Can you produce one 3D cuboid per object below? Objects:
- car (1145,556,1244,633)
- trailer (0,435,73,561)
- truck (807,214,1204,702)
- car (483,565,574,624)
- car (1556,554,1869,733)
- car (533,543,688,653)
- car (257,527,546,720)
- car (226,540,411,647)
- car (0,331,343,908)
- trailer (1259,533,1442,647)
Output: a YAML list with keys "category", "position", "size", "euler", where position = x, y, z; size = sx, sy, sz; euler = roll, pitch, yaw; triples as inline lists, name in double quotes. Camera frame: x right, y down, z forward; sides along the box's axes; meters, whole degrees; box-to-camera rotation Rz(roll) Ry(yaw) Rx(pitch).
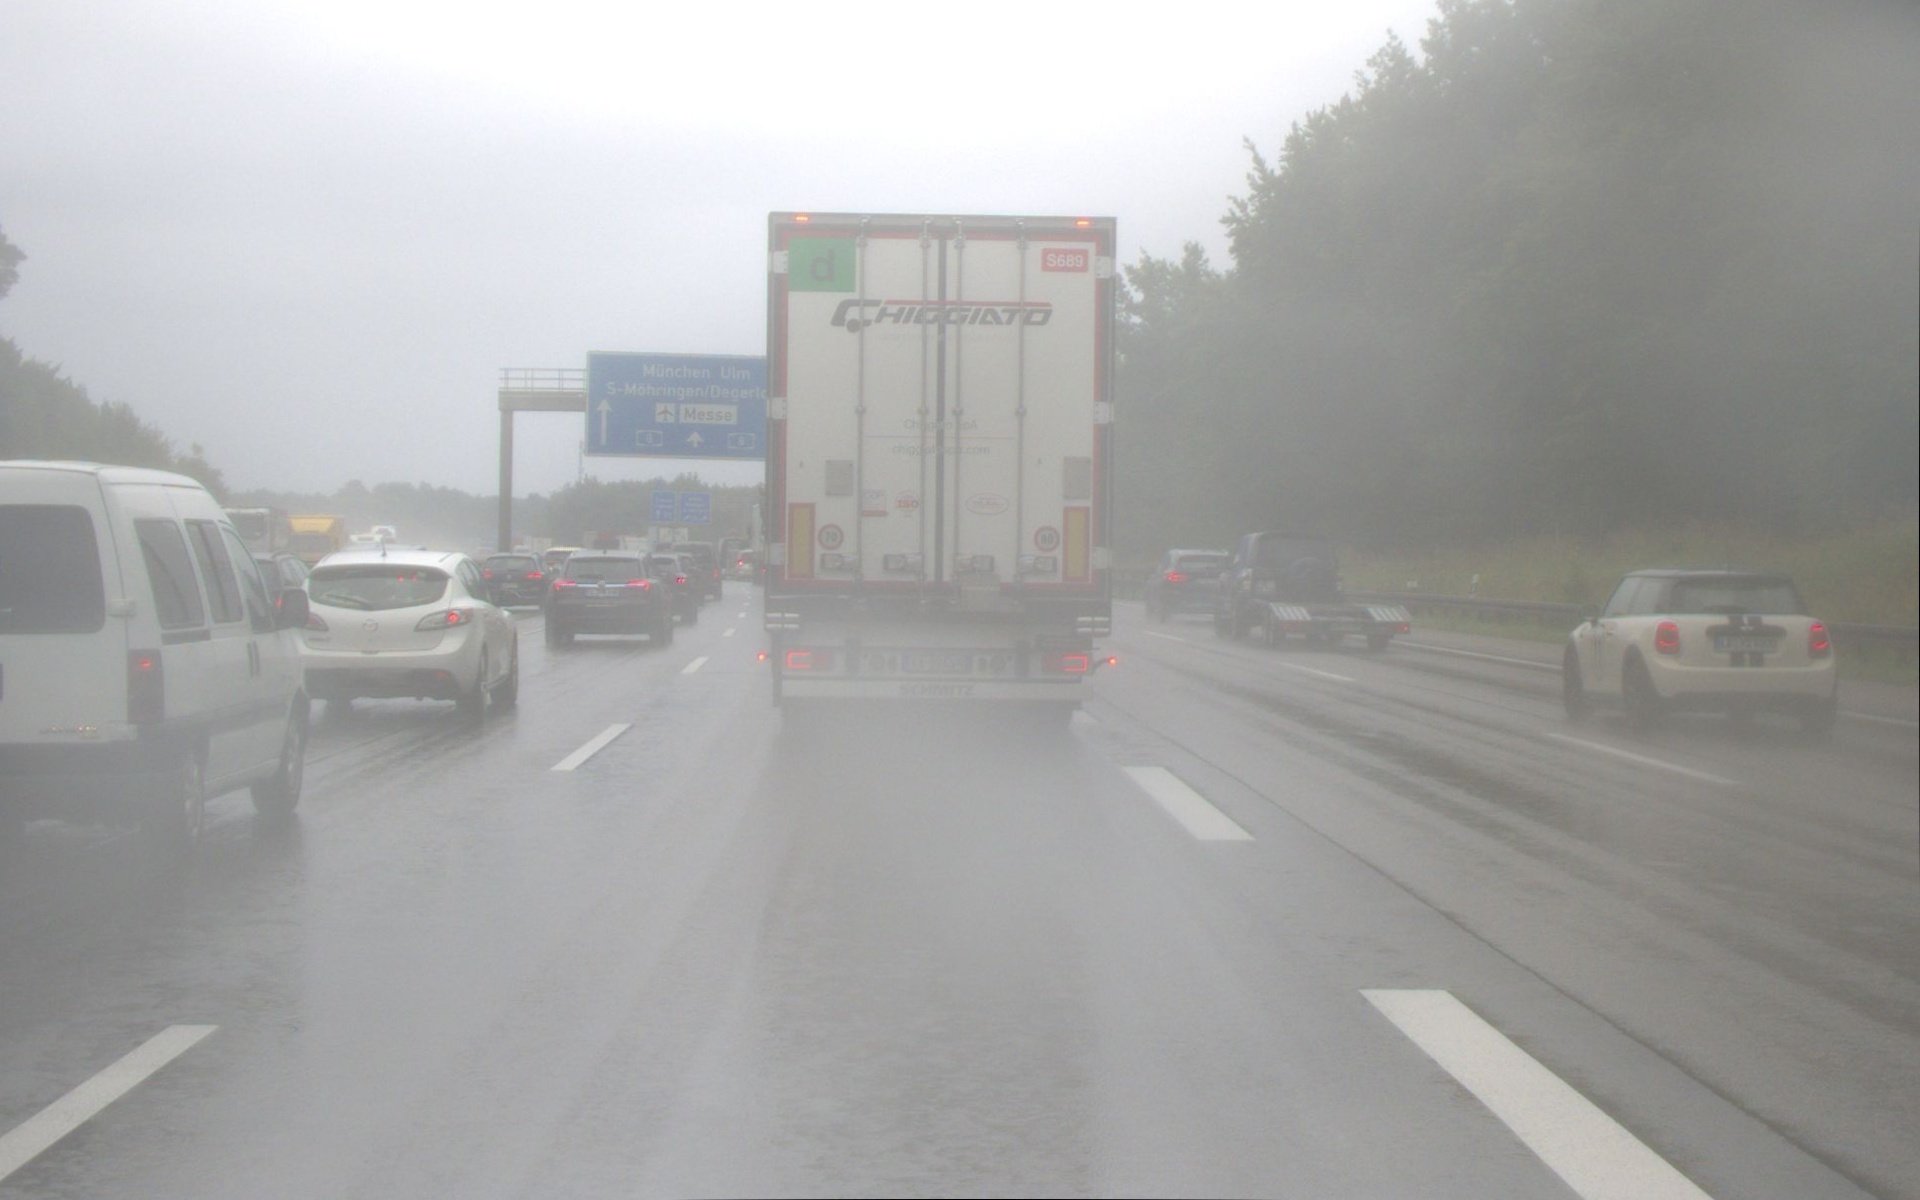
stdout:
- category: "car"
  position: [5.138, -0.147, 75.838]
  size: [1.990, 1.578, 4.767]
  euler: [1, 1, 2]
- category: "trailer"
  position: [-31.397, -3.203, 110.115]
  size: [2.719, 3.940, 13.962]
  euler: [-1, 1, -2]
- category: "truck"
  position: [0.335, -1.102, 30.905]
  size: [2.872, 3.550, 11.302]
  euler: [1, 1, 0]
- category: "car"
  position: [-10.594, -0.152, 84.575]
  size: [1.845, 1.326, 4.467]
  euler: [1, 1, -3]
- category: "car"
  position: [6.521, 0.329, 30.248]
  size: [1.790, 1.402, 4.228]
  euler: [1, 1, 0]
- category: "car"
  position: [-5.391, -0.070, 53.517]
  size: [1.845, 1.586, 4.466]
  euler: [1, 1, 1]
- category: "car"
  position: [-4.911, 0.154, 30.737]
  size: [1.845, 1.586, 4.072]
  euler: [1, 1, 1]
- category: "car"
  position: [-8.608, -0.124, 46.453]
  size: [1.845, 1.326, 4.467]
  euler: [1, 1, -3]
- category: "car"
  position: [-4.614, 0.025, 17.793]
  size: [2.212, 2.564, 5.016]
  euler: [1, 1, -4]
- category: "trailer"
  position: [6.178, -0.202, 54.956]
  size: [2.243, 1.709, 5.083]
  euler: [1, 1, -1]
